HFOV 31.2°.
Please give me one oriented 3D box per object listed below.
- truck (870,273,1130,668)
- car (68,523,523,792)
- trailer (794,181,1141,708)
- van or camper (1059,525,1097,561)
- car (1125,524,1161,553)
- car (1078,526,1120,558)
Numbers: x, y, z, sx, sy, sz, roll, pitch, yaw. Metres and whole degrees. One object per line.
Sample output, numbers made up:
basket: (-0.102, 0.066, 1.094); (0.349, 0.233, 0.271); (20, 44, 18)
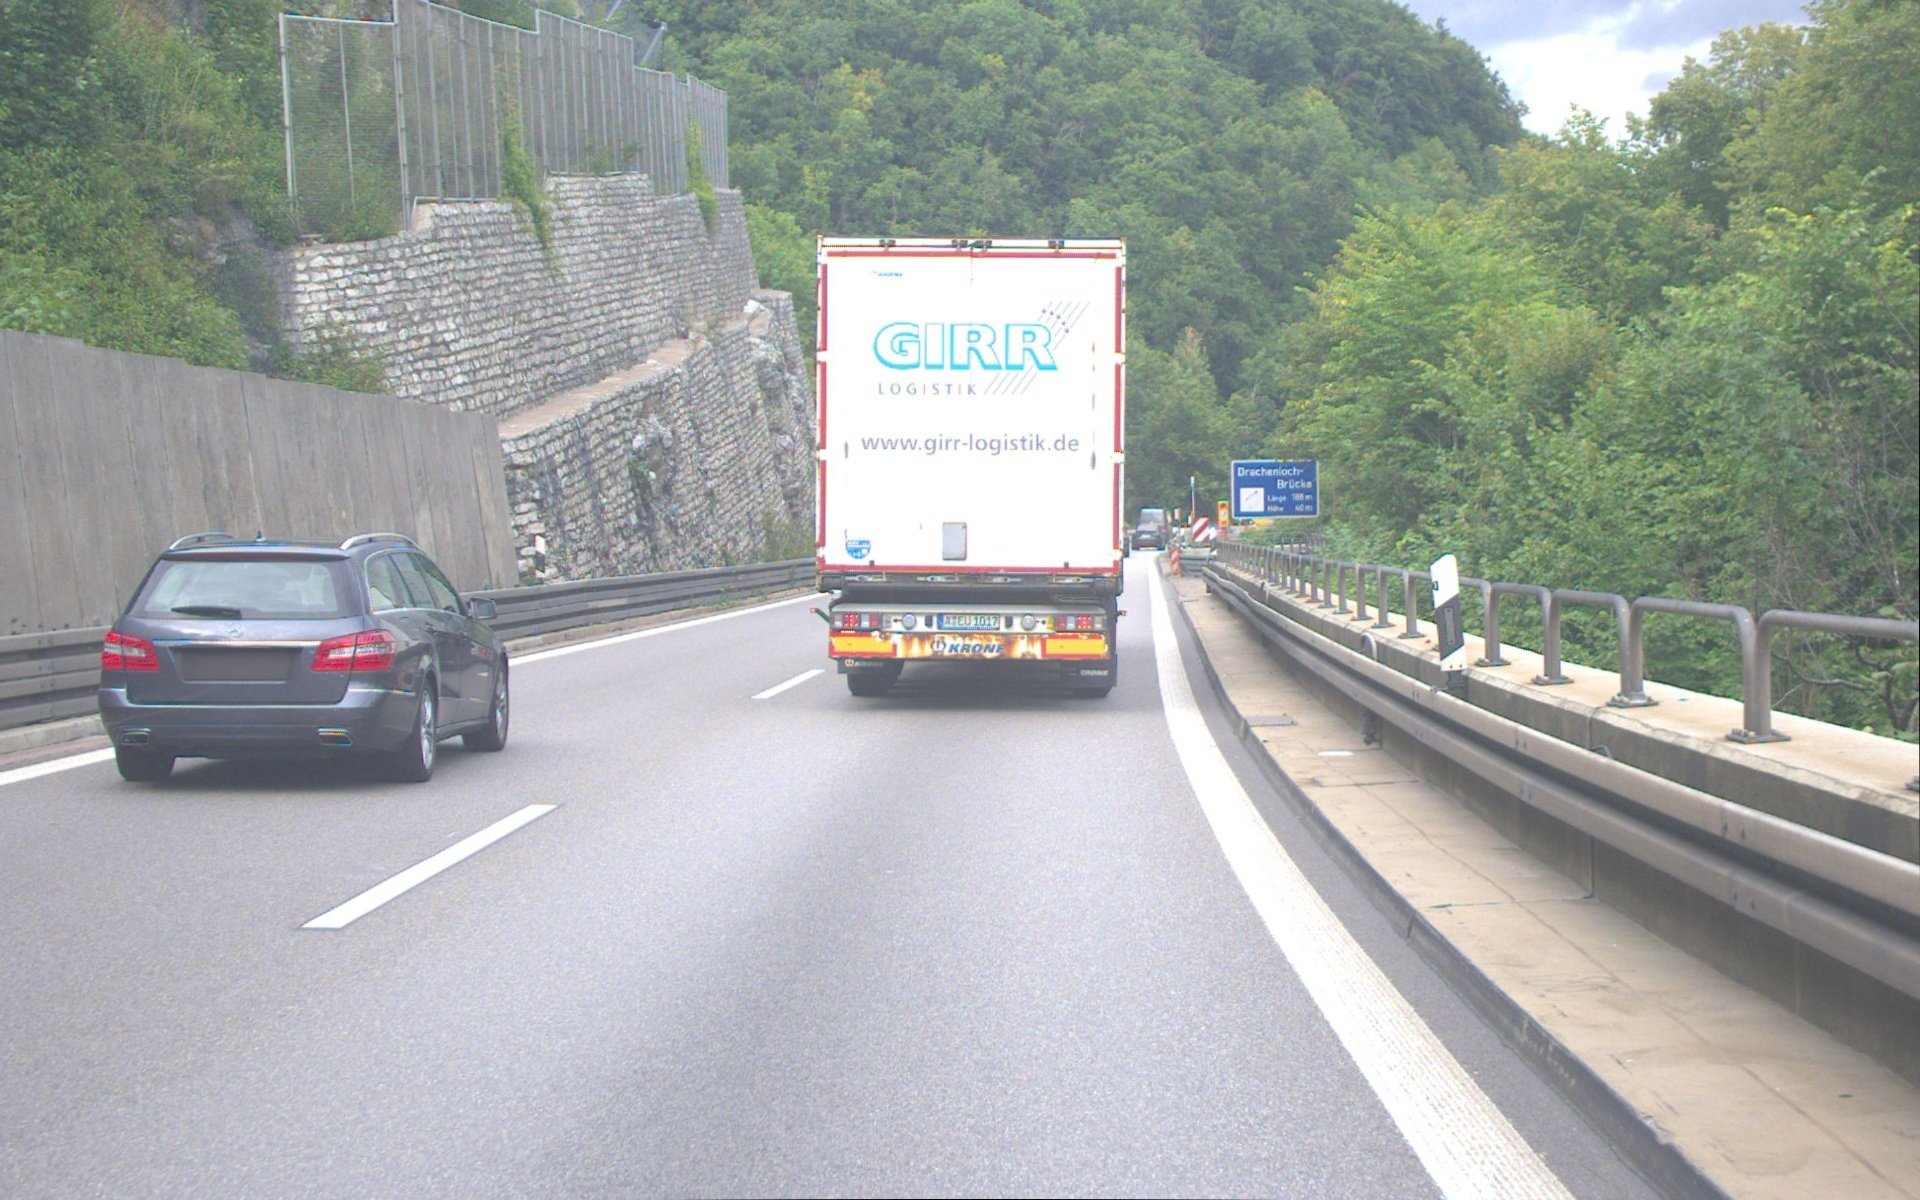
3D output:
truck: (0.562, -1.456, 40.627); (2.813, 4.288, 6.258); (0, 1, 2)
car: (-4.018, 0.294, 21.533); (1.883, 1.504, 4.419); (0, 1, 2)
trailer: (0.312, -1.353, 34.172); (2.813, 4.288, 12.244); (0, 1, 2)
van or camper: (6.773, -3.283, 197.177); (1.994, 2.007, 3.999); (1, 0, 4)
car: (11.485, -3.852, 215.372); (1.994, 1.758, 3.999); (0, 1, 7)
car: (6.908, -2.890, 171.217); (1.993, 1.567, 4.000); (0, 1, 1)
